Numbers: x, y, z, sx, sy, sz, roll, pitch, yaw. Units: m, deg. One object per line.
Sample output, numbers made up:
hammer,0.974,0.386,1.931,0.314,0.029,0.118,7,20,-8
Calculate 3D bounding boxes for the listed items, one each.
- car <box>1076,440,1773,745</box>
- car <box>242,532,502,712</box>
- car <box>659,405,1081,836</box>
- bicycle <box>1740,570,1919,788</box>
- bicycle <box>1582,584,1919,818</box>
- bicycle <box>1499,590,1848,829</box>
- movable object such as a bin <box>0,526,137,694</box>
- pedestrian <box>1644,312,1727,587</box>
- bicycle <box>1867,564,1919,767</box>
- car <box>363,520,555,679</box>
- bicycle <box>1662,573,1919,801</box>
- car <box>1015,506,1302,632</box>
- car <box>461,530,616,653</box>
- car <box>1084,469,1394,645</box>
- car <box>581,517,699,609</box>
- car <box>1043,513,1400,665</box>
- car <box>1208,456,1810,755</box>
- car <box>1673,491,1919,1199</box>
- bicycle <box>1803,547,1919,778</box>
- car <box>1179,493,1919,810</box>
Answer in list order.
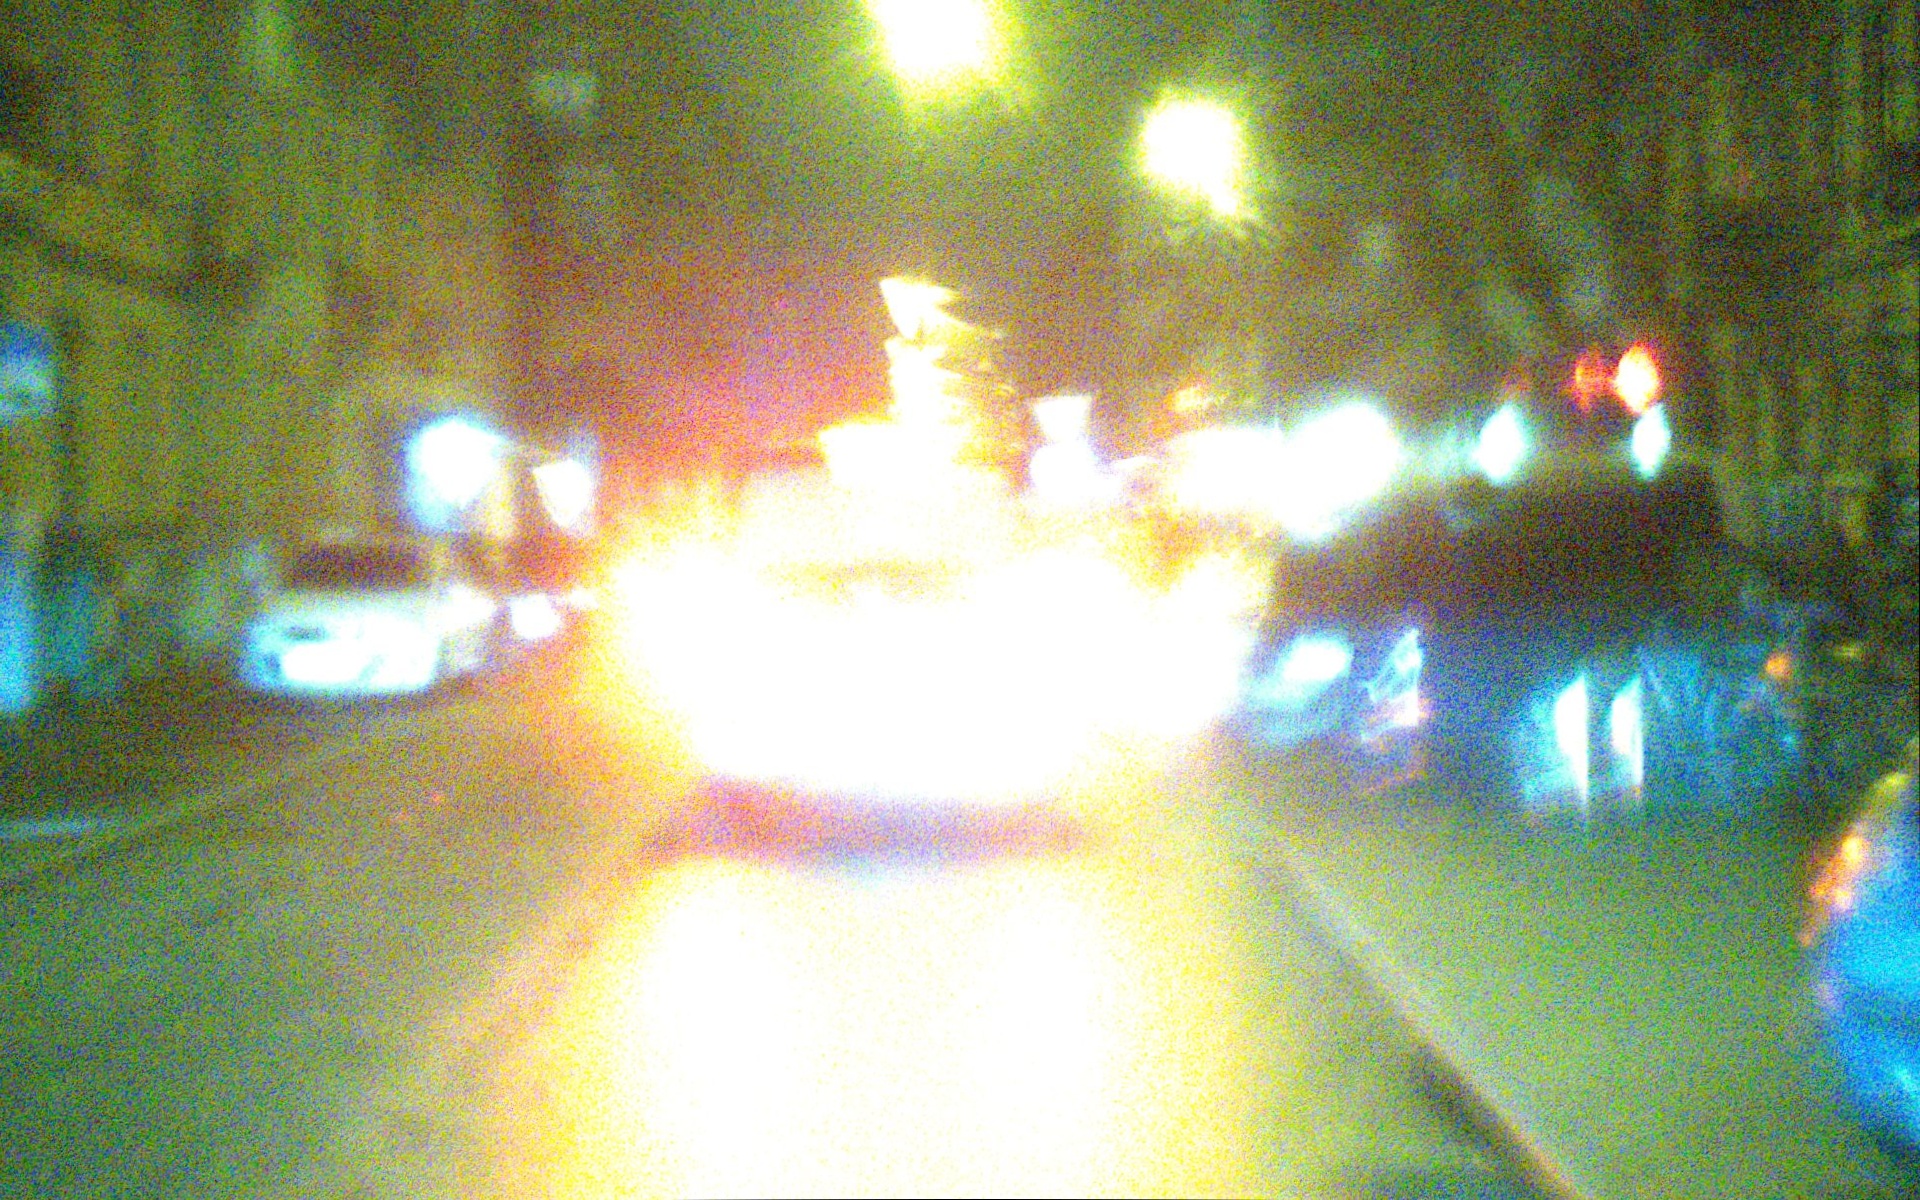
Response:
car,3.430,-0.124,25.102,4.784,2.042,2.067,-2,2,-31
car,-5.093,0.147,30.196,1.587,1.477,3.793,0,1,1
car,-0.441,0.078,18.382,1.993,2.043,4.000,0,0,0
bicycle,4.810,0.393,17.536,0.445,1.072,1.827,-3,2,-31
bicycle,3.907,0.470,16.999,0.518,1.072,1.827,-3,2,-31
bicycle,3.433,0.501,16.706,0.518,1.072,1.827,-3,2,-31
movable object such as a bin,-7.763,0.073,29.543,1.048,1.393,1.158,1,1,2
pedestrian,9.376,-1.936,44.458,0.891,3.515,0.791,0,1,0
bicycle,5.613,0.347,18.015,0.445,1.072,1.827,-3,2,-31
car,-5.132,-0.047,35.628,1.655,1.552,4.077,0,1,-4
bicycle,4.377,0.415,17.284,0.518,1.072,1.827,-3,2,-31
car,2.638,-0.413,45.421,3.554,1.585,1.605,-1,0,-37
car,-5.520,-0.147,45.393,1.812,1.552,4.077,0,1,-4
car,3.461,-0.538,42.395,3.555,1.984,1.605,-4,1,-37
car,-6.014,-0.717,64.981,1.883,1.679,4.000,0,1,0
car,2.852,-0.130,37.301,3.555,1.448,1.672,-4,1,-35
car,3.602,0.003,22.464,3.554,1.705,1.646,-3,1,-29
car,3.588,0.461,8.144,3.642,1.575,1.592,-4,2,-35
bicycle,5.210,0.320,17.786,0.445,1.187,1.827,-3,2,-31
car,3.428,0.239,19.427,3.987,1.487,1.735,-3,1,-27
